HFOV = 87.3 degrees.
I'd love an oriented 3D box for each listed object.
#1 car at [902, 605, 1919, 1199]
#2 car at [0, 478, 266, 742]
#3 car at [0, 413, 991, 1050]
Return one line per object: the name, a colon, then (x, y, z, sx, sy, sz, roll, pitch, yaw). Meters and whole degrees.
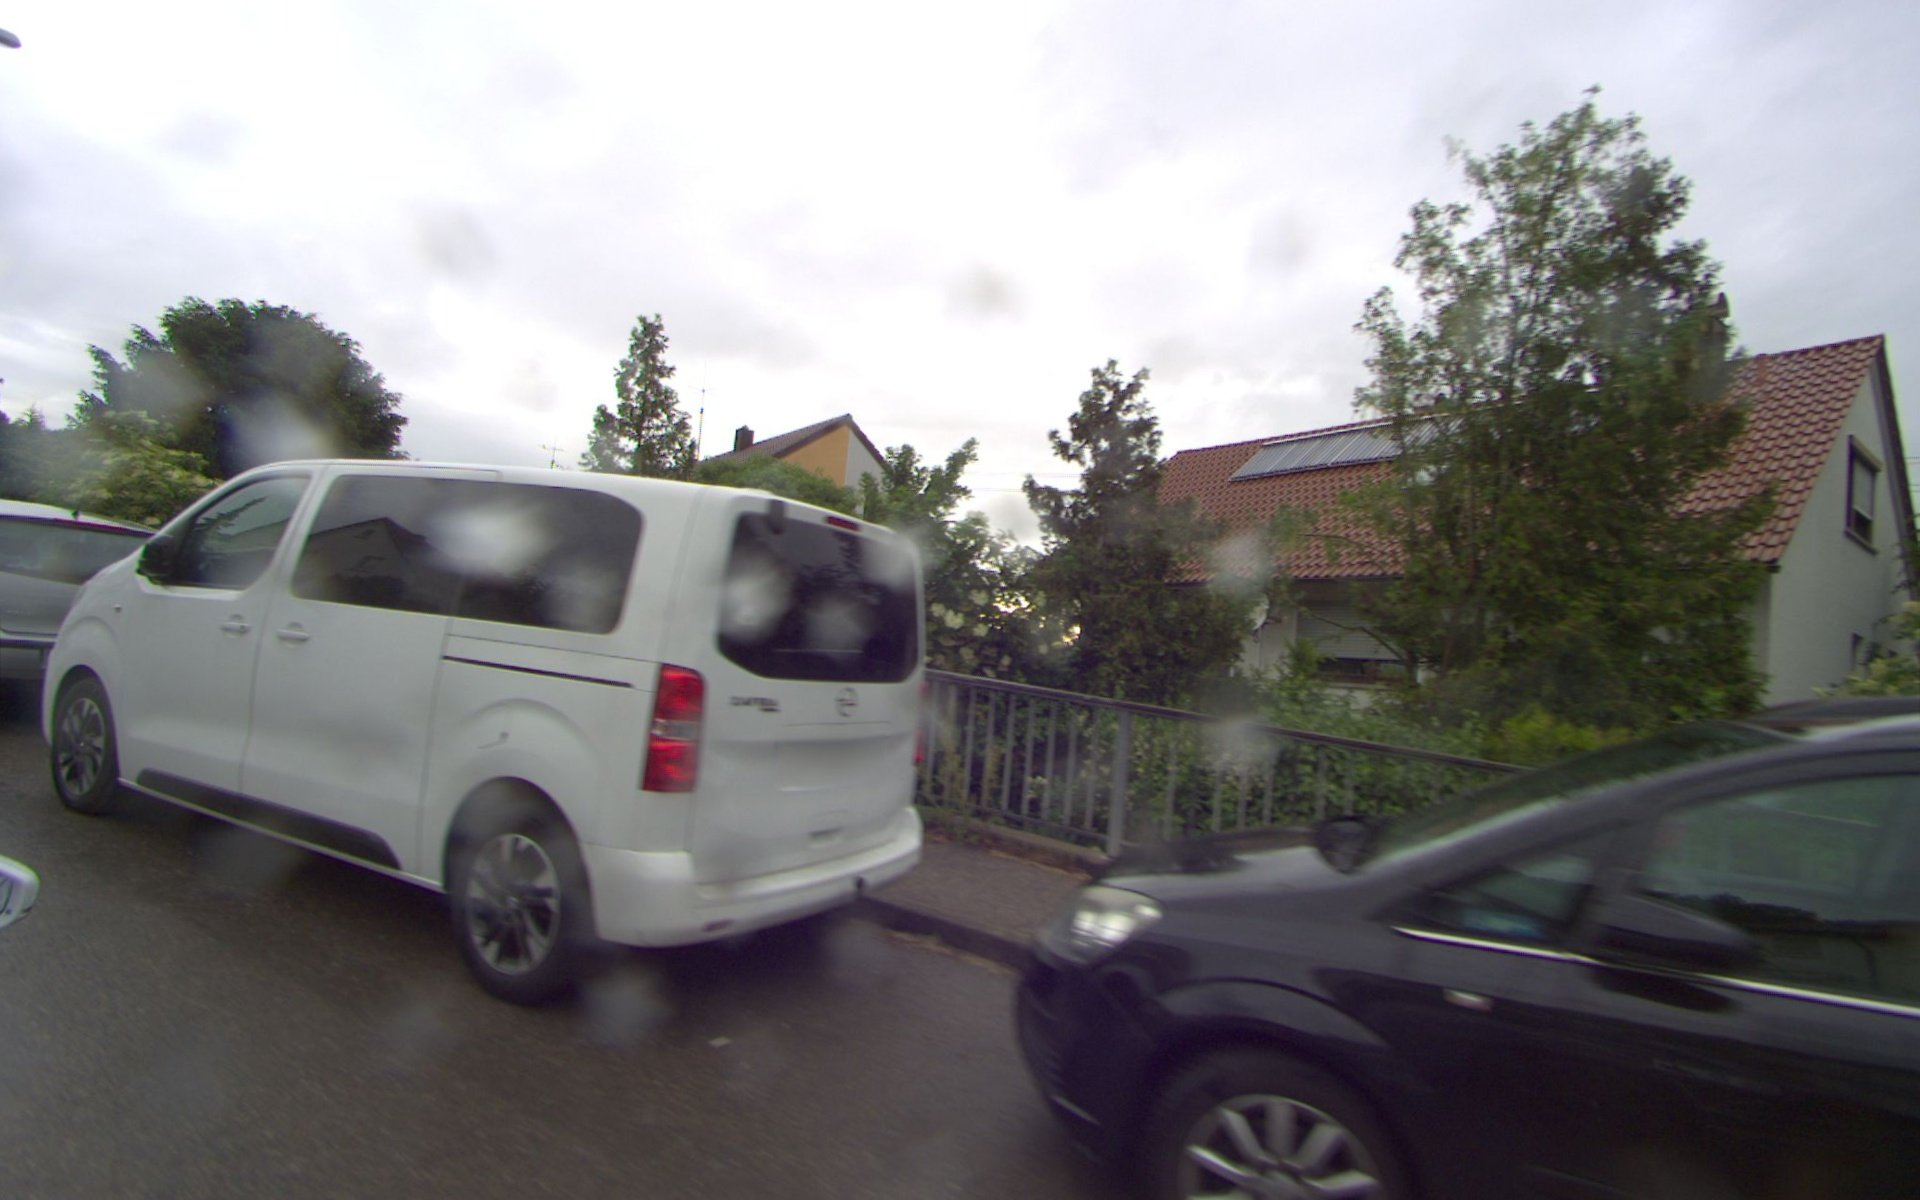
car: (2.178, 1.061, 2.409, 4.279, 1.559, 1.648, 6, -1, 29)
car: (-7.151, -0.061, 7.540, 3.897, 1.582, 1.651, 6, -1, 31)
car: (-2.504, 0.270, 5.018, 4.825, 1.904, 1.853, 6, -1, 28)
